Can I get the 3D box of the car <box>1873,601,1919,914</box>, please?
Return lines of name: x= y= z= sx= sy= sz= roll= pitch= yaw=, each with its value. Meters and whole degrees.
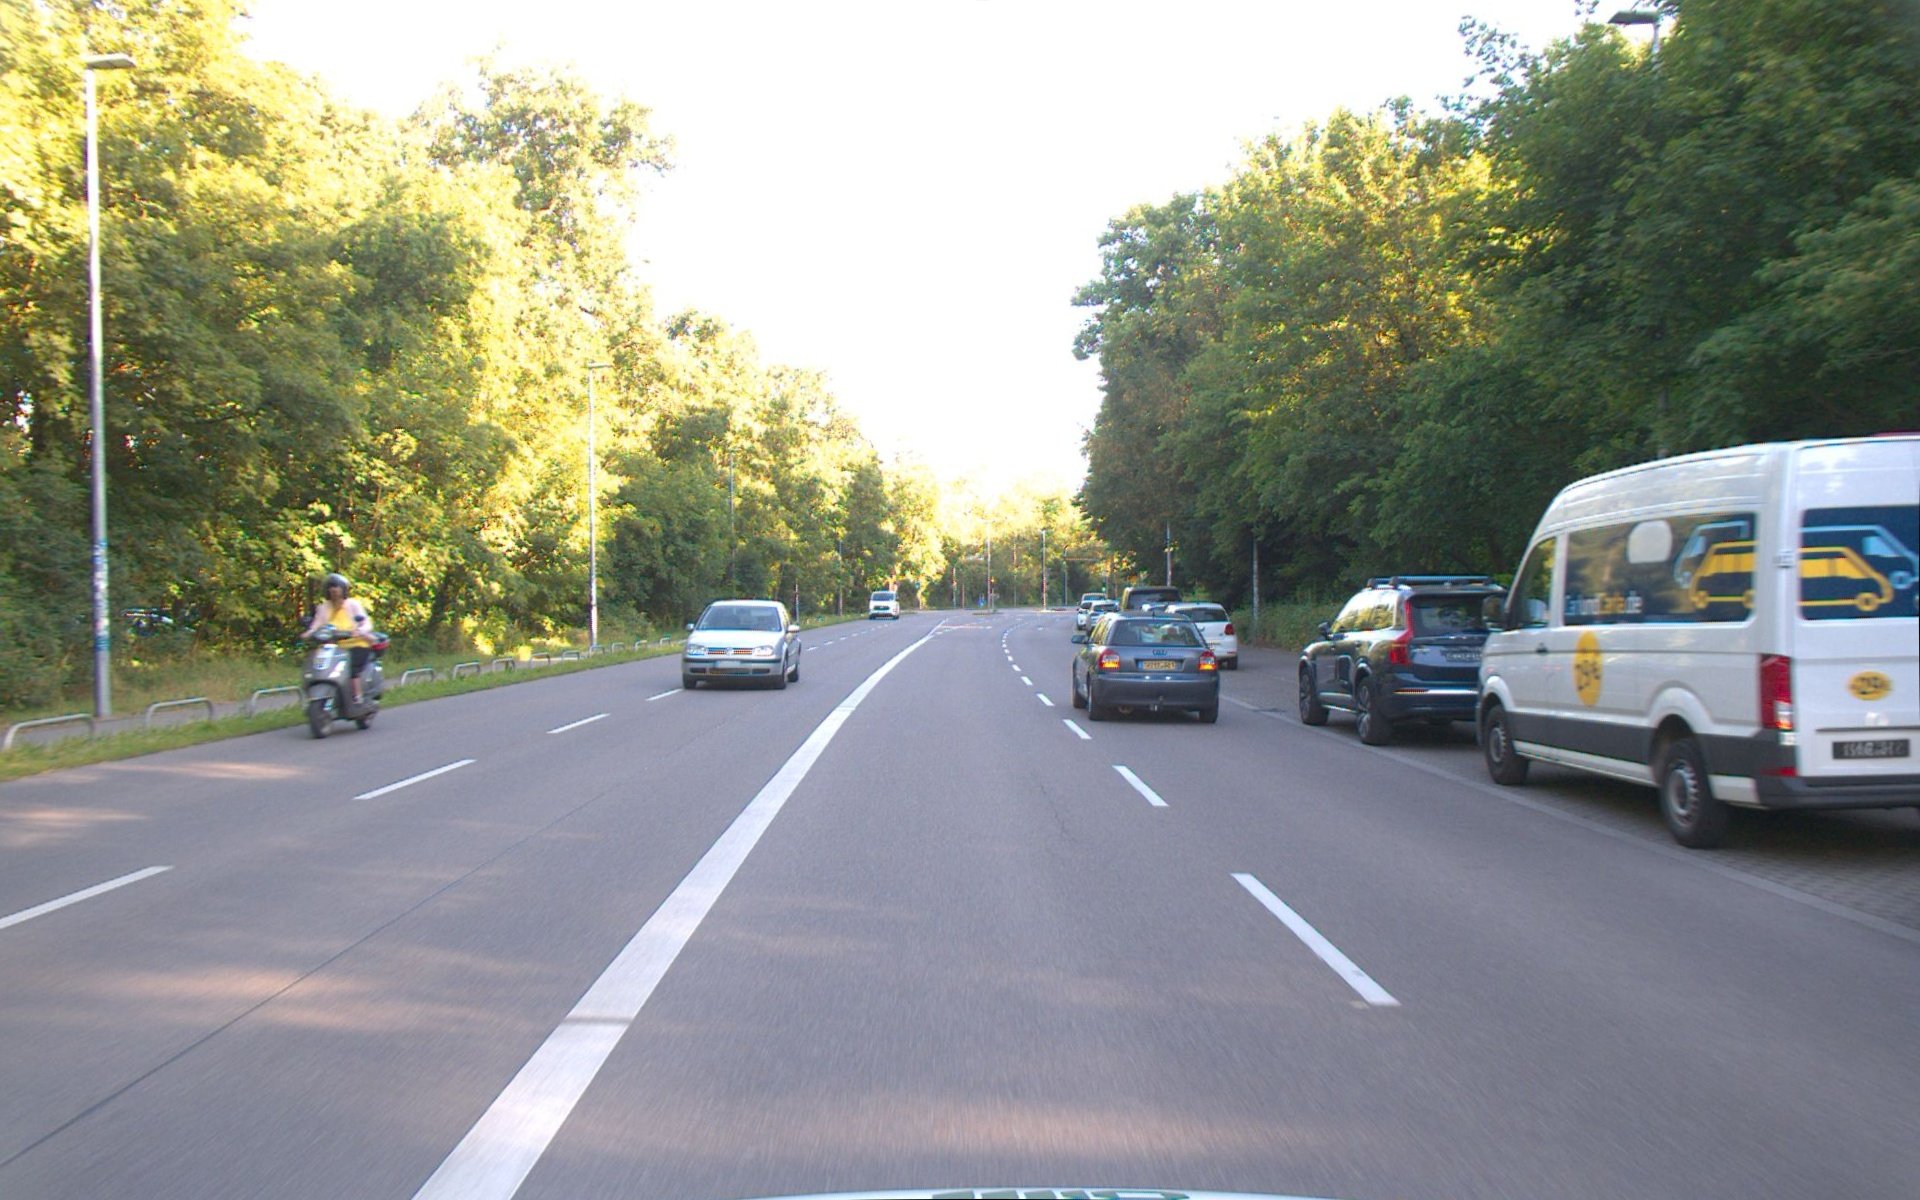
car: x=5.551 y=0.756 z=6.356 sx=1.688 sy=1.522 sz=4.144 roll=-2 pitch=0 yaw=-1

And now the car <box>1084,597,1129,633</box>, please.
car: x=6.285 y=0.608 z=71.126 sx=1.692 sy=1.467 sz=4.668 roll=0 pitch=0 yaw=2

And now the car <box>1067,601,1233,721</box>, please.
car: x=2.495 y=0.764 z=22.583 sx=1.693 sy=1.467 sz=4.088 roll=0 pitch=0 yaw=-2

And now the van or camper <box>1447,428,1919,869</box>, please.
van or camper: x=5.722 y=0.255 z=12.648 sx=2.076 sy=2.561 sz=5.978 roll=-1 pitch=0 yaw=-2

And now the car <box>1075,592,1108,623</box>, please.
car: x=6.811 y=0.362 z=85.854 sx=1.691 sy=1.549 sz=4.092 roll=0 pitch=0 yaw=4

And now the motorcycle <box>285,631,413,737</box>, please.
motorcycle: x=-6.505 y=0.865 z=17.725 sx=0.623 sy=1.013 sz=2.076 roll=1 pitch=0 yaw=-1

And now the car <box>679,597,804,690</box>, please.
car: x=-3.644 y=0.685 z=28.117 sx=1.647 sy=1.431 sz=3.889 roll=2 pitch=0 yaw=-1

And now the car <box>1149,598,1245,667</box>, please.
car: x=5.379 y=0.702 z=37.936 sx=1.692 sy=1.467 sz=4.101 roll=-1 pitch=0 yaw=1

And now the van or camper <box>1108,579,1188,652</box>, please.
van or camper: x=5.523 y=0.429 z=49.078 sx=1.853 sy=1.982 sz=5.135 roll=-2 pitch=0 yaw=2

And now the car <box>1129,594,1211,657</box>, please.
car: x=5.434 y=0.632 z=43.269 sx=1.692 sy=1.571 sz=4.218 roll=0 pitch=0 yaw=1

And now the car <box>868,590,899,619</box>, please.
car: x=-5.456 y=0.336 z=118.617 sx=1.953 sy=2.027 sz=4.997 roll=2 pitch=-1 yaw=0

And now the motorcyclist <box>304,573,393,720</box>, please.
motorcyclist: x=-6.527 y=0.487 z=17.678 sx=0.710 sy=1.531 sz=0.671 roll=0 pitch=0 yaw=-1

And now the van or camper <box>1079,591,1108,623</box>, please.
van or camper: x=8.767 y=0.423 z=108.646 sx=1.793 sy=2.005 sz=5.344 roll=0 pitch=0 yaw=4

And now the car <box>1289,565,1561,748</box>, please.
car: x=5.377 y=0.571 z=19.865 sx=1.792 sy=1.900 sz=5.073 roll=0 pitch=0 yaw=0
